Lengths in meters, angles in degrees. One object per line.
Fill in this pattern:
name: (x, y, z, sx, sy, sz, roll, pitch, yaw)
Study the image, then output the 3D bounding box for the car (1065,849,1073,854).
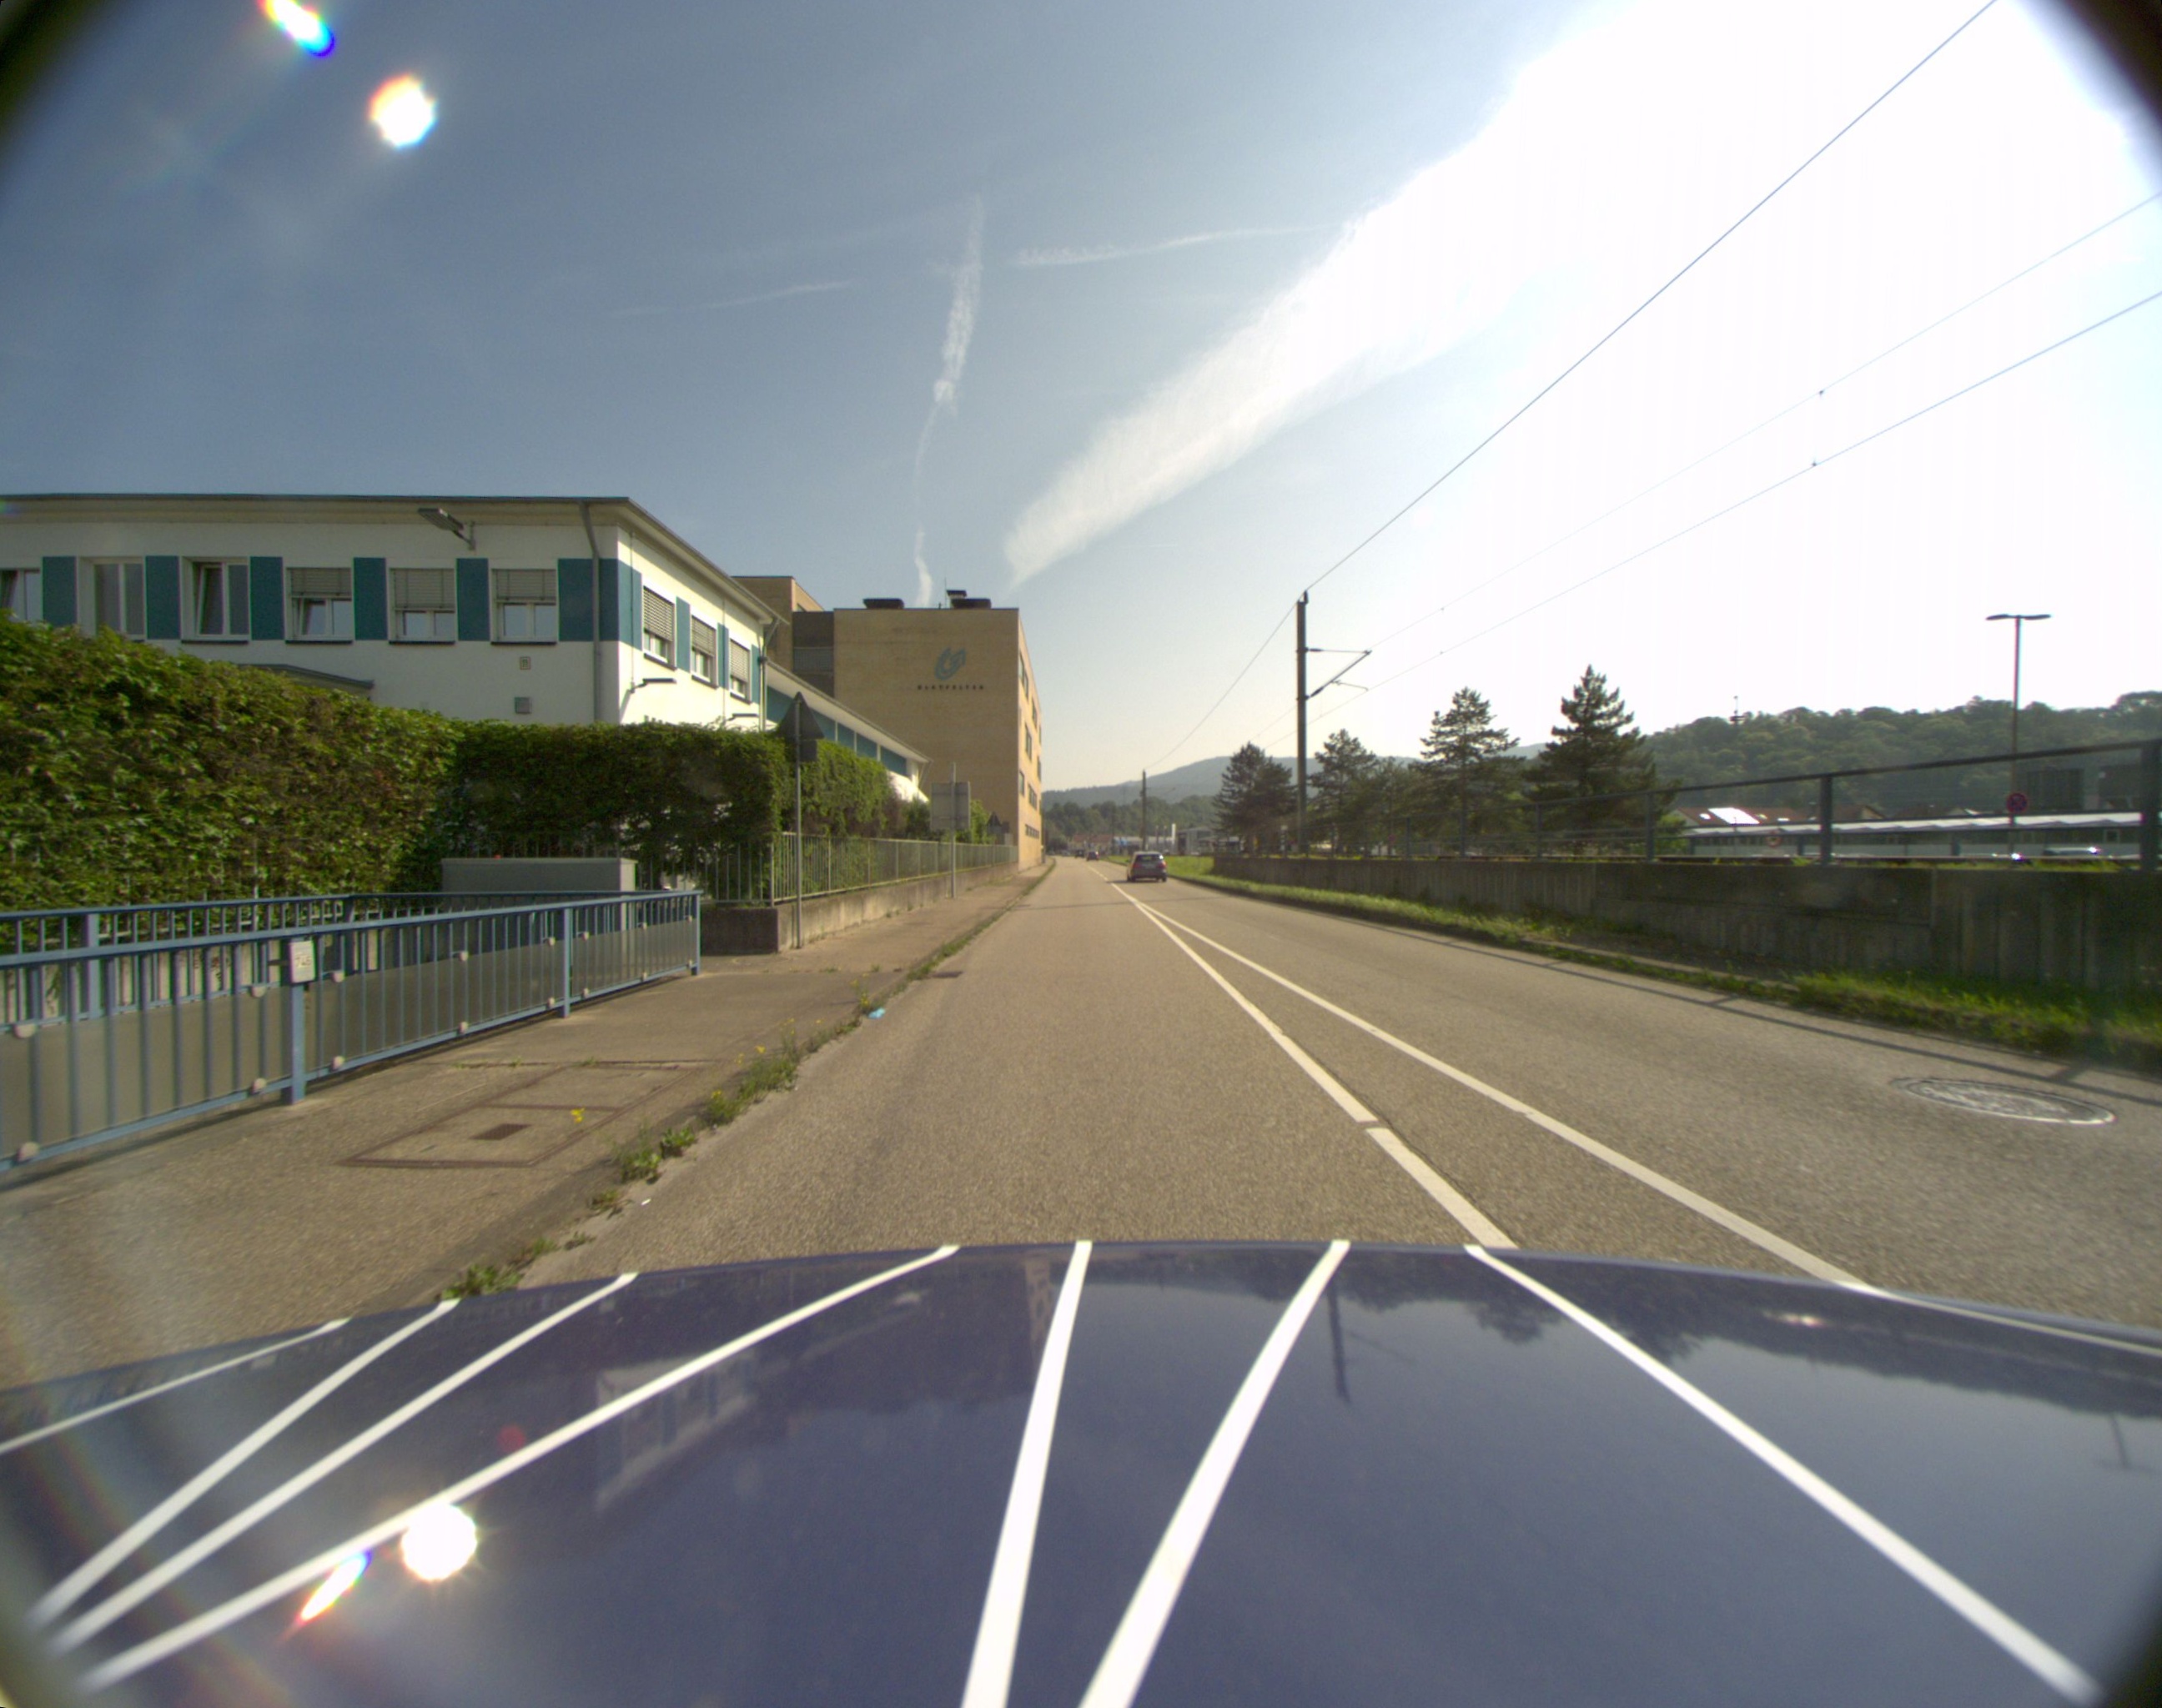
car: (-3.401, -0.758, 210.806, 1.773, 1.397, 4.294, 0, 1, -5)

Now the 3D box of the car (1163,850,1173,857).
car: (23.362, -0.129, 204.963, 1.523, 1.679, 4.366, -2, 1, -8)

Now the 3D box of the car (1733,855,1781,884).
car: (34.047, 0.758, 38.340, 1.453, 1.317, 3.544, 1, 1, 36)

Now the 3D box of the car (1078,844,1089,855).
car: (0.477, -0.860, 153.849, 1.763, 2.066, 4.805, -2, 1, -3)

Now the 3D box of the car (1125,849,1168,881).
car: (3.336, 0.541, 39.382, 1.746, 1.498, 4.198, -1, 1, -2)

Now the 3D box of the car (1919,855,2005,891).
car: (35.257, 0.716, 30.503, 1.453, 1.317, 3.544, 1, 1, 36)

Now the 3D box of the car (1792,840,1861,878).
car: (34.312, 0.193, 35.047, 1.641, 1.678, 3.814, 1, 1, 35)

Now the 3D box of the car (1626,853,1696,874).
car: (38.555, 0.623, 50.593, 3.526, 1.317, 1.460, 1, 1, 31)

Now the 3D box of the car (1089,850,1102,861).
car: (2.145, 0.184, 113.226, 1.735, 1.517, 4.091, -1, 1, -1)

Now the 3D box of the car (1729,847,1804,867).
car: (46.055, 0.193, 51.106, 3.526, 1.317, 1.460, 1, 1, 32)
